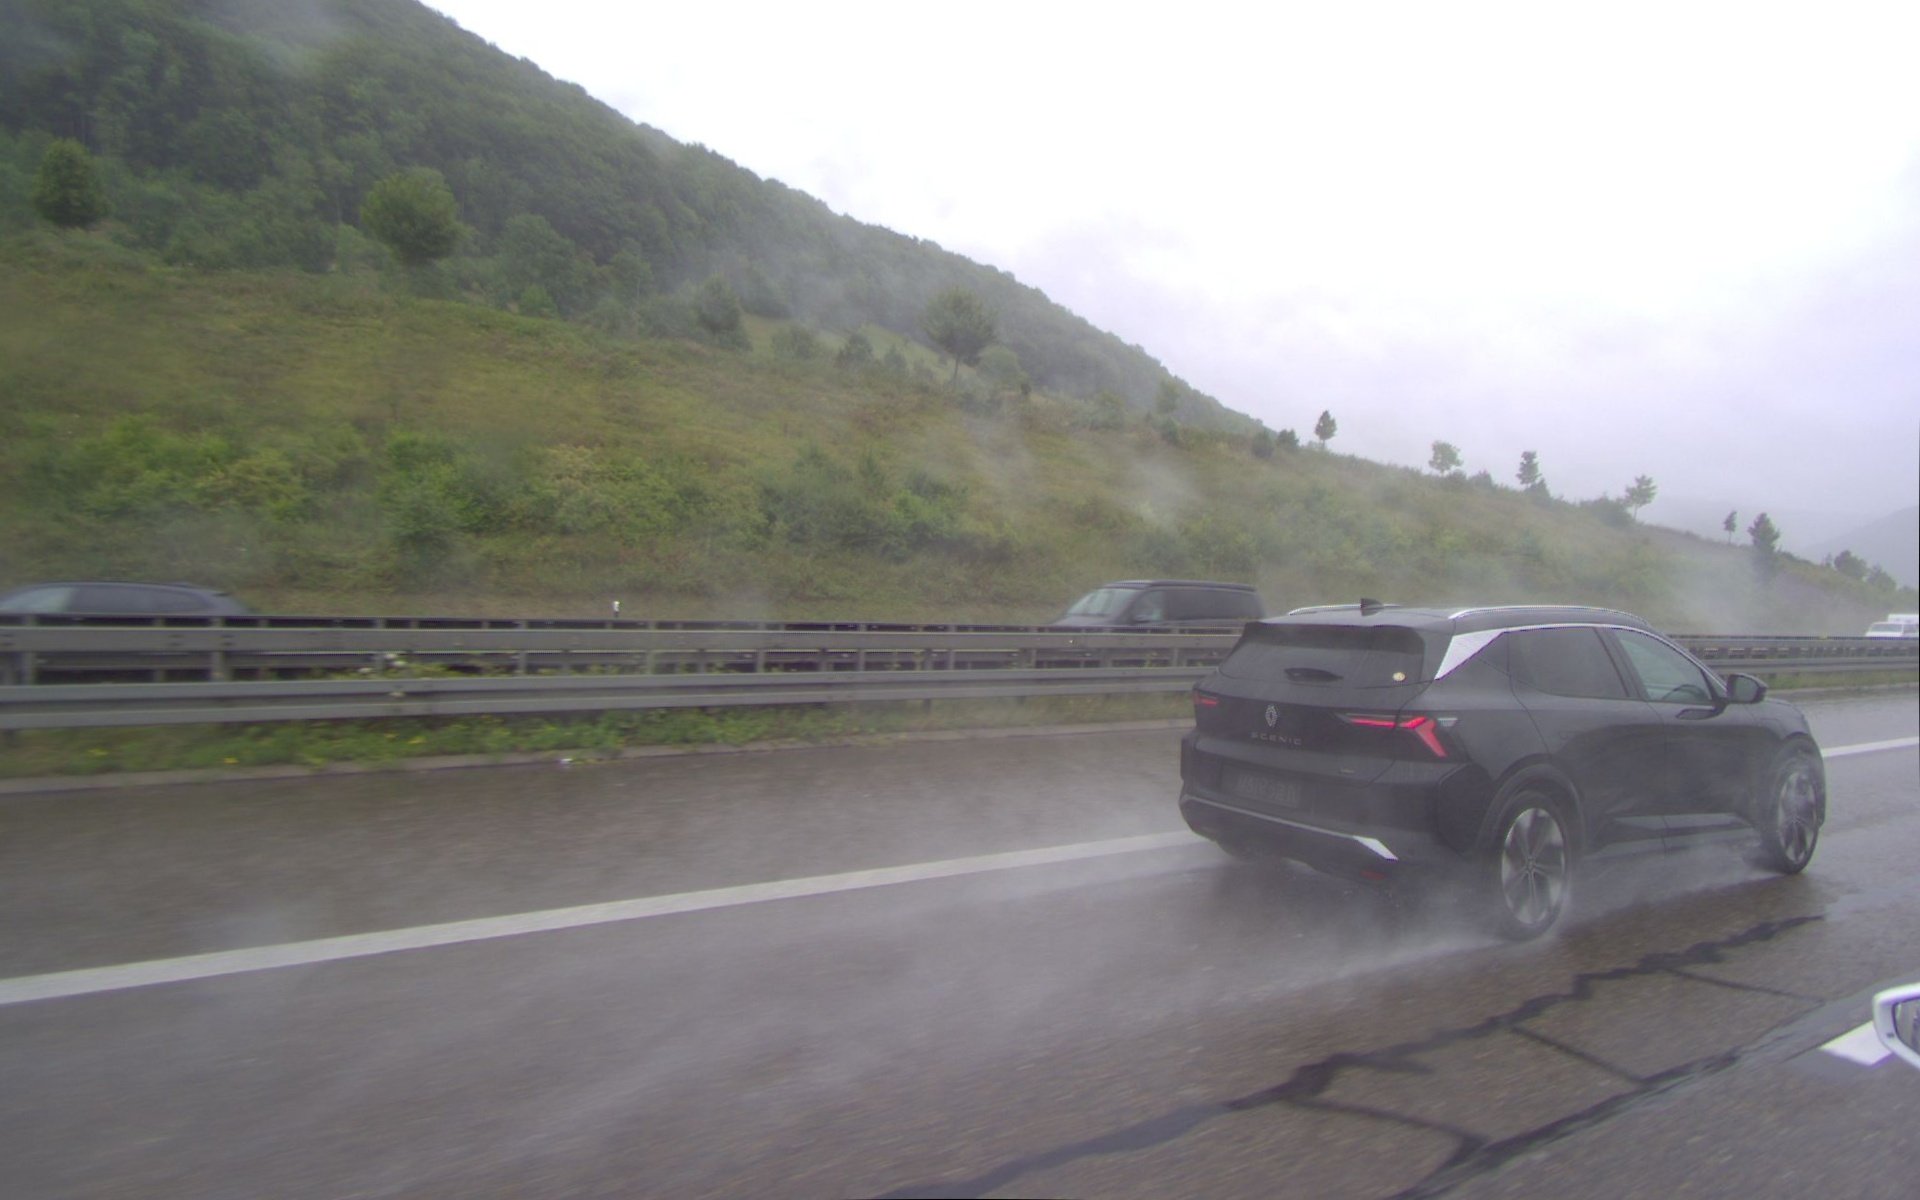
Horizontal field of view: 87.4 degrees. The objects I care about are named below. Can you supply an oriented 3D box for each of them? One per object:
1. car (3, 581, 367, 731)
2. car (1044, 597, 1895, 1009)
[{"bbox_3d":[-11.058,0.760,14.746,3.952,1.932,1.782,1,0,-30],"label":"car"},{"bbox_3d":[3.129,0.819,6.036,4.728,1.535,2.394,2,0,-31],"label":"car"}]
